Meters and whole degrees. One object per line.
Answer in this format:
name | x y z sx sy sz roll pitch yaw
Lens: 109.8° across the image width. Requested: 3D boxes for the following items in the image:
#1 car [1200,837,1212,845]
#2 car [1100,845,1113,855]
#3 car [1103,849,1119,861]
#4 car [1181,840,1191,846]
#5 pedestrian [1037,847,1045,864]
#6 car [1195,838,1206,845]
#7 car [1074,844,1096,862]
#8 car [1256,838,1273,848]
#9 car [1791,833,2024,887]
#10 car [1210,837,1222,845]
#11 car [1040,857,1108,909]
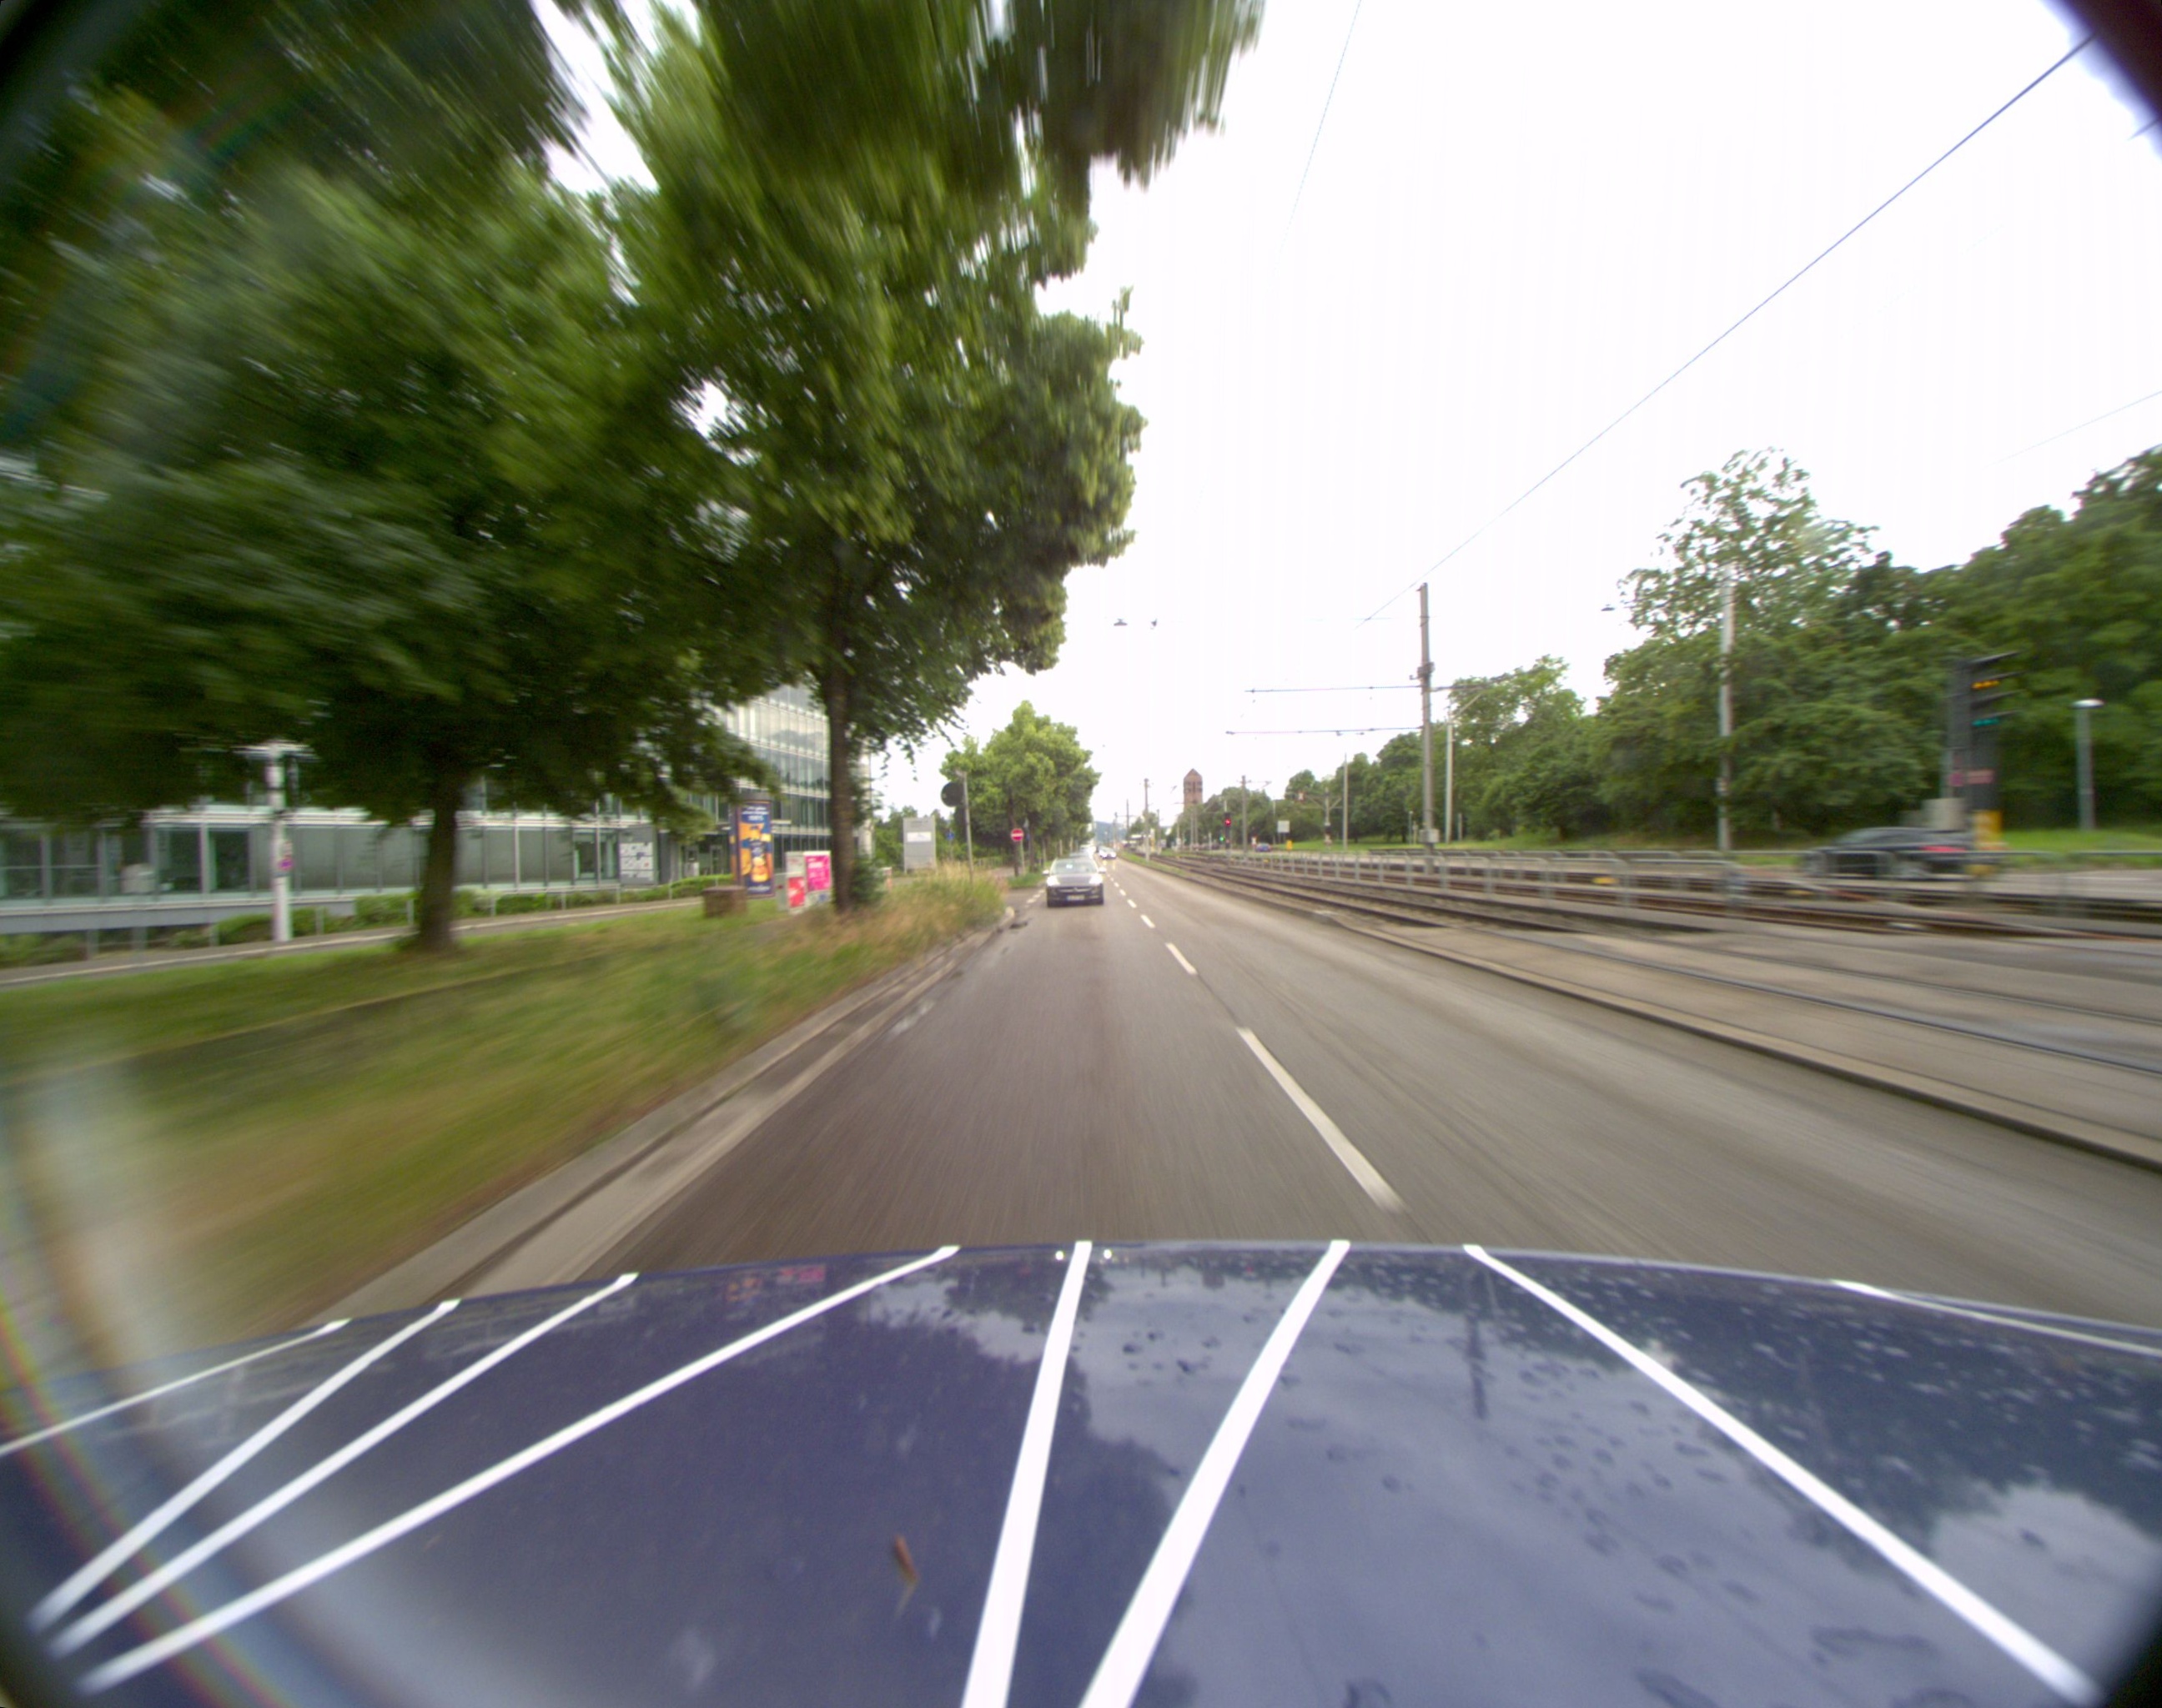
car | 24.720 -2.507 149.923 1.895 1.478 4.309 -2 1 4
car | 3.974 -0.646 118.452 1.812 1.566 3.971 -3 1 1
car | 3.908 0.179 99.759 1.899 1.432 4.246 -2 0 1
car | 28.431 -3.049 205.969 1.931 1.438 4.682 -2 1 1
pedestrian | -4.527 0.165 86.044 0.828 1.787 0.867 -3 1 1
car | 28.733 -2.982 183.335 2.094 1.580 5.159 -2 1 3
car | 0.363 -0.133 72.254 1.998 1.608 4.000 -2 1 1
car | 27.400 -1.626 113.390 1.765 1.389 3.901 -2 1 4
car | 21.220 0.121 19.785 1.760 1.237 3.987 -2 1 1
car | 28.012 -2.791 158.090 1.952 1.586 4.848 -2 1 3
car | -0.173 0.853 24.087 1.899 1.432 4.474 -2 0 1
